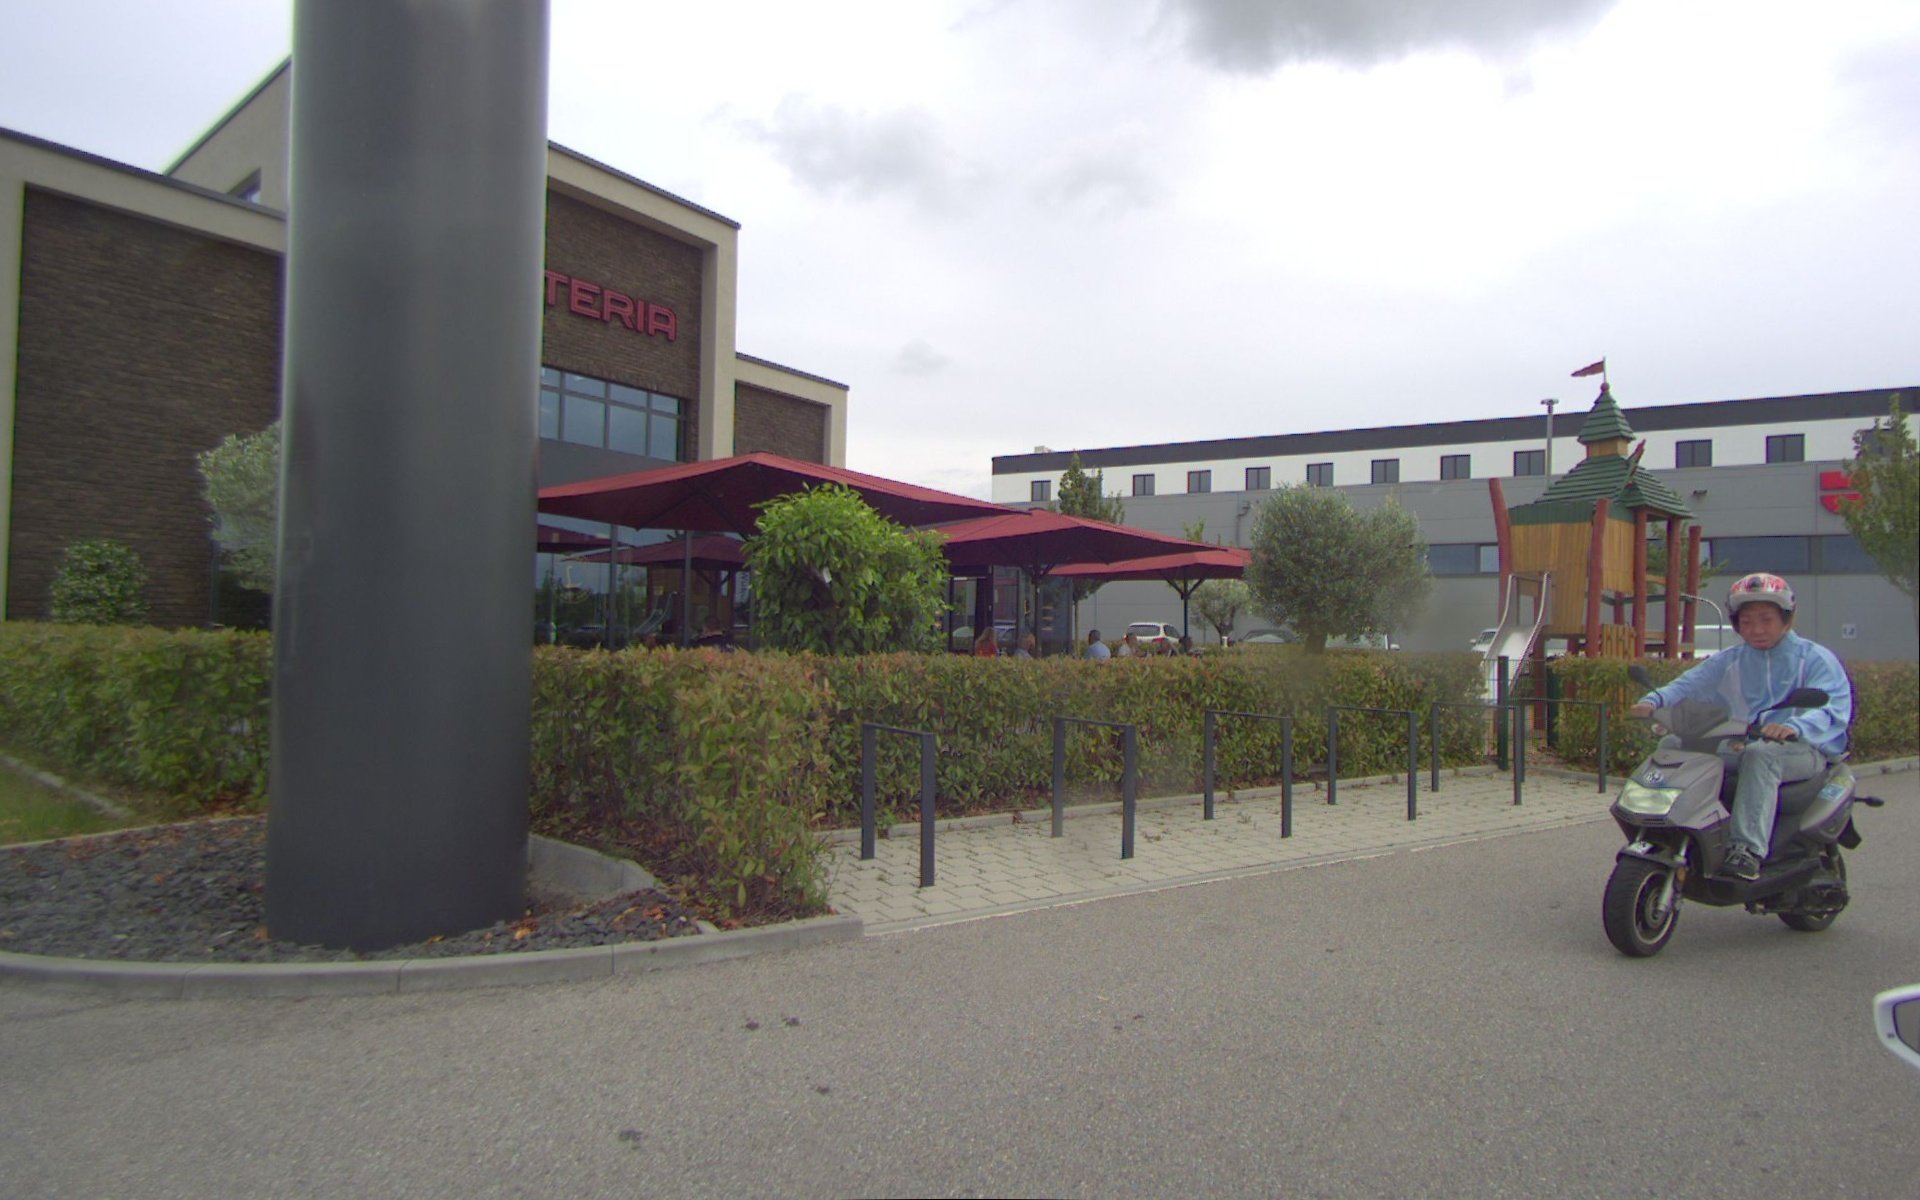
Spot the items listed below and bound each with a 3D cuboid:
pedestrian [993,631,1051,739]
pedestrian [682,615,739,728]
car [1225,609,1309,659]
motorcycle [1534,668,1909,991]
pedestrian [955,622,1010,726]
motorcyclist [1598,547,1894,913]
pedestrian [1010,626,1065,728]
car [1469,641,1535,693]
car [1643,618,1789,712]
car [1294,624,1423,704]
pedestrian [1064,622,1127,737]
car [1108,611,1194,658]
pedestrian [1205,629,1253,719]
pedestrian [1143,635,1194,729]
[{"bbox_3d":[1.036,1.408,16.867,0.695,1.771,0.737,1,-3,-28],"label":"pedestrian"},{"bbox_3d":[-2.766,0.787,11.157,0.415,1.215,0.454,-2,-3,43],"label":"pedestrian"},{"bbox_3d":[11.043,1.234,35.900,1.963,1.660,4.799,0,-2,28],"label":"car"},{"bbox_3d":[3.667,0.962,4.797,1.900,1.224,0.788,2,-1,-32],"label":"motorcycle"},{"bbox_3d":[0.390,1.277,17.620,0.695,1.771,0.737,1,-3,-28],"label":"pedestrian"},{"bbox_3d":[3.701,0.554,4.748,0.931,1.508,0.823,2,-1,-31],"label":"motorcyclist"},{"bbox_3d":[1.389,1.366,18.007,0.695,1.771,0.737,1,-3,-28],"label":"pedestrian"},{"bbox_3d":[17.676,2.147,32.662,1.712,1.572,4.256,-2,-3,30],"label":"car"},{"bbox_3d":[15.110,1.281,20.312,1.966,1.672,4.567,-2,-3,33],"label":"car"},{"bbox_3d":[9.432,1.462,23.569,1.966,1.672,4.567,-2,-3,33],"label":"car"},{"bbox_3d":[2.155,1.246,15.988,0.695,1.771,0.737,1,-3,-28],"label":"pedestrian"},{"bbox_3d":[7.250,1.343,37.783,1.963,1.659,4.801,-1,-3,26],"label":"car"},{"bbox_3d":[5.421,1.473,20.248,0.730,1.771,0.702,-2,-3,35],"label":"pedestrian"},{"bbox_3d":[4.056,1.578,19.547,0.730,1.771,0.702,-2,-3,35],"label":"pedestrian"}]
